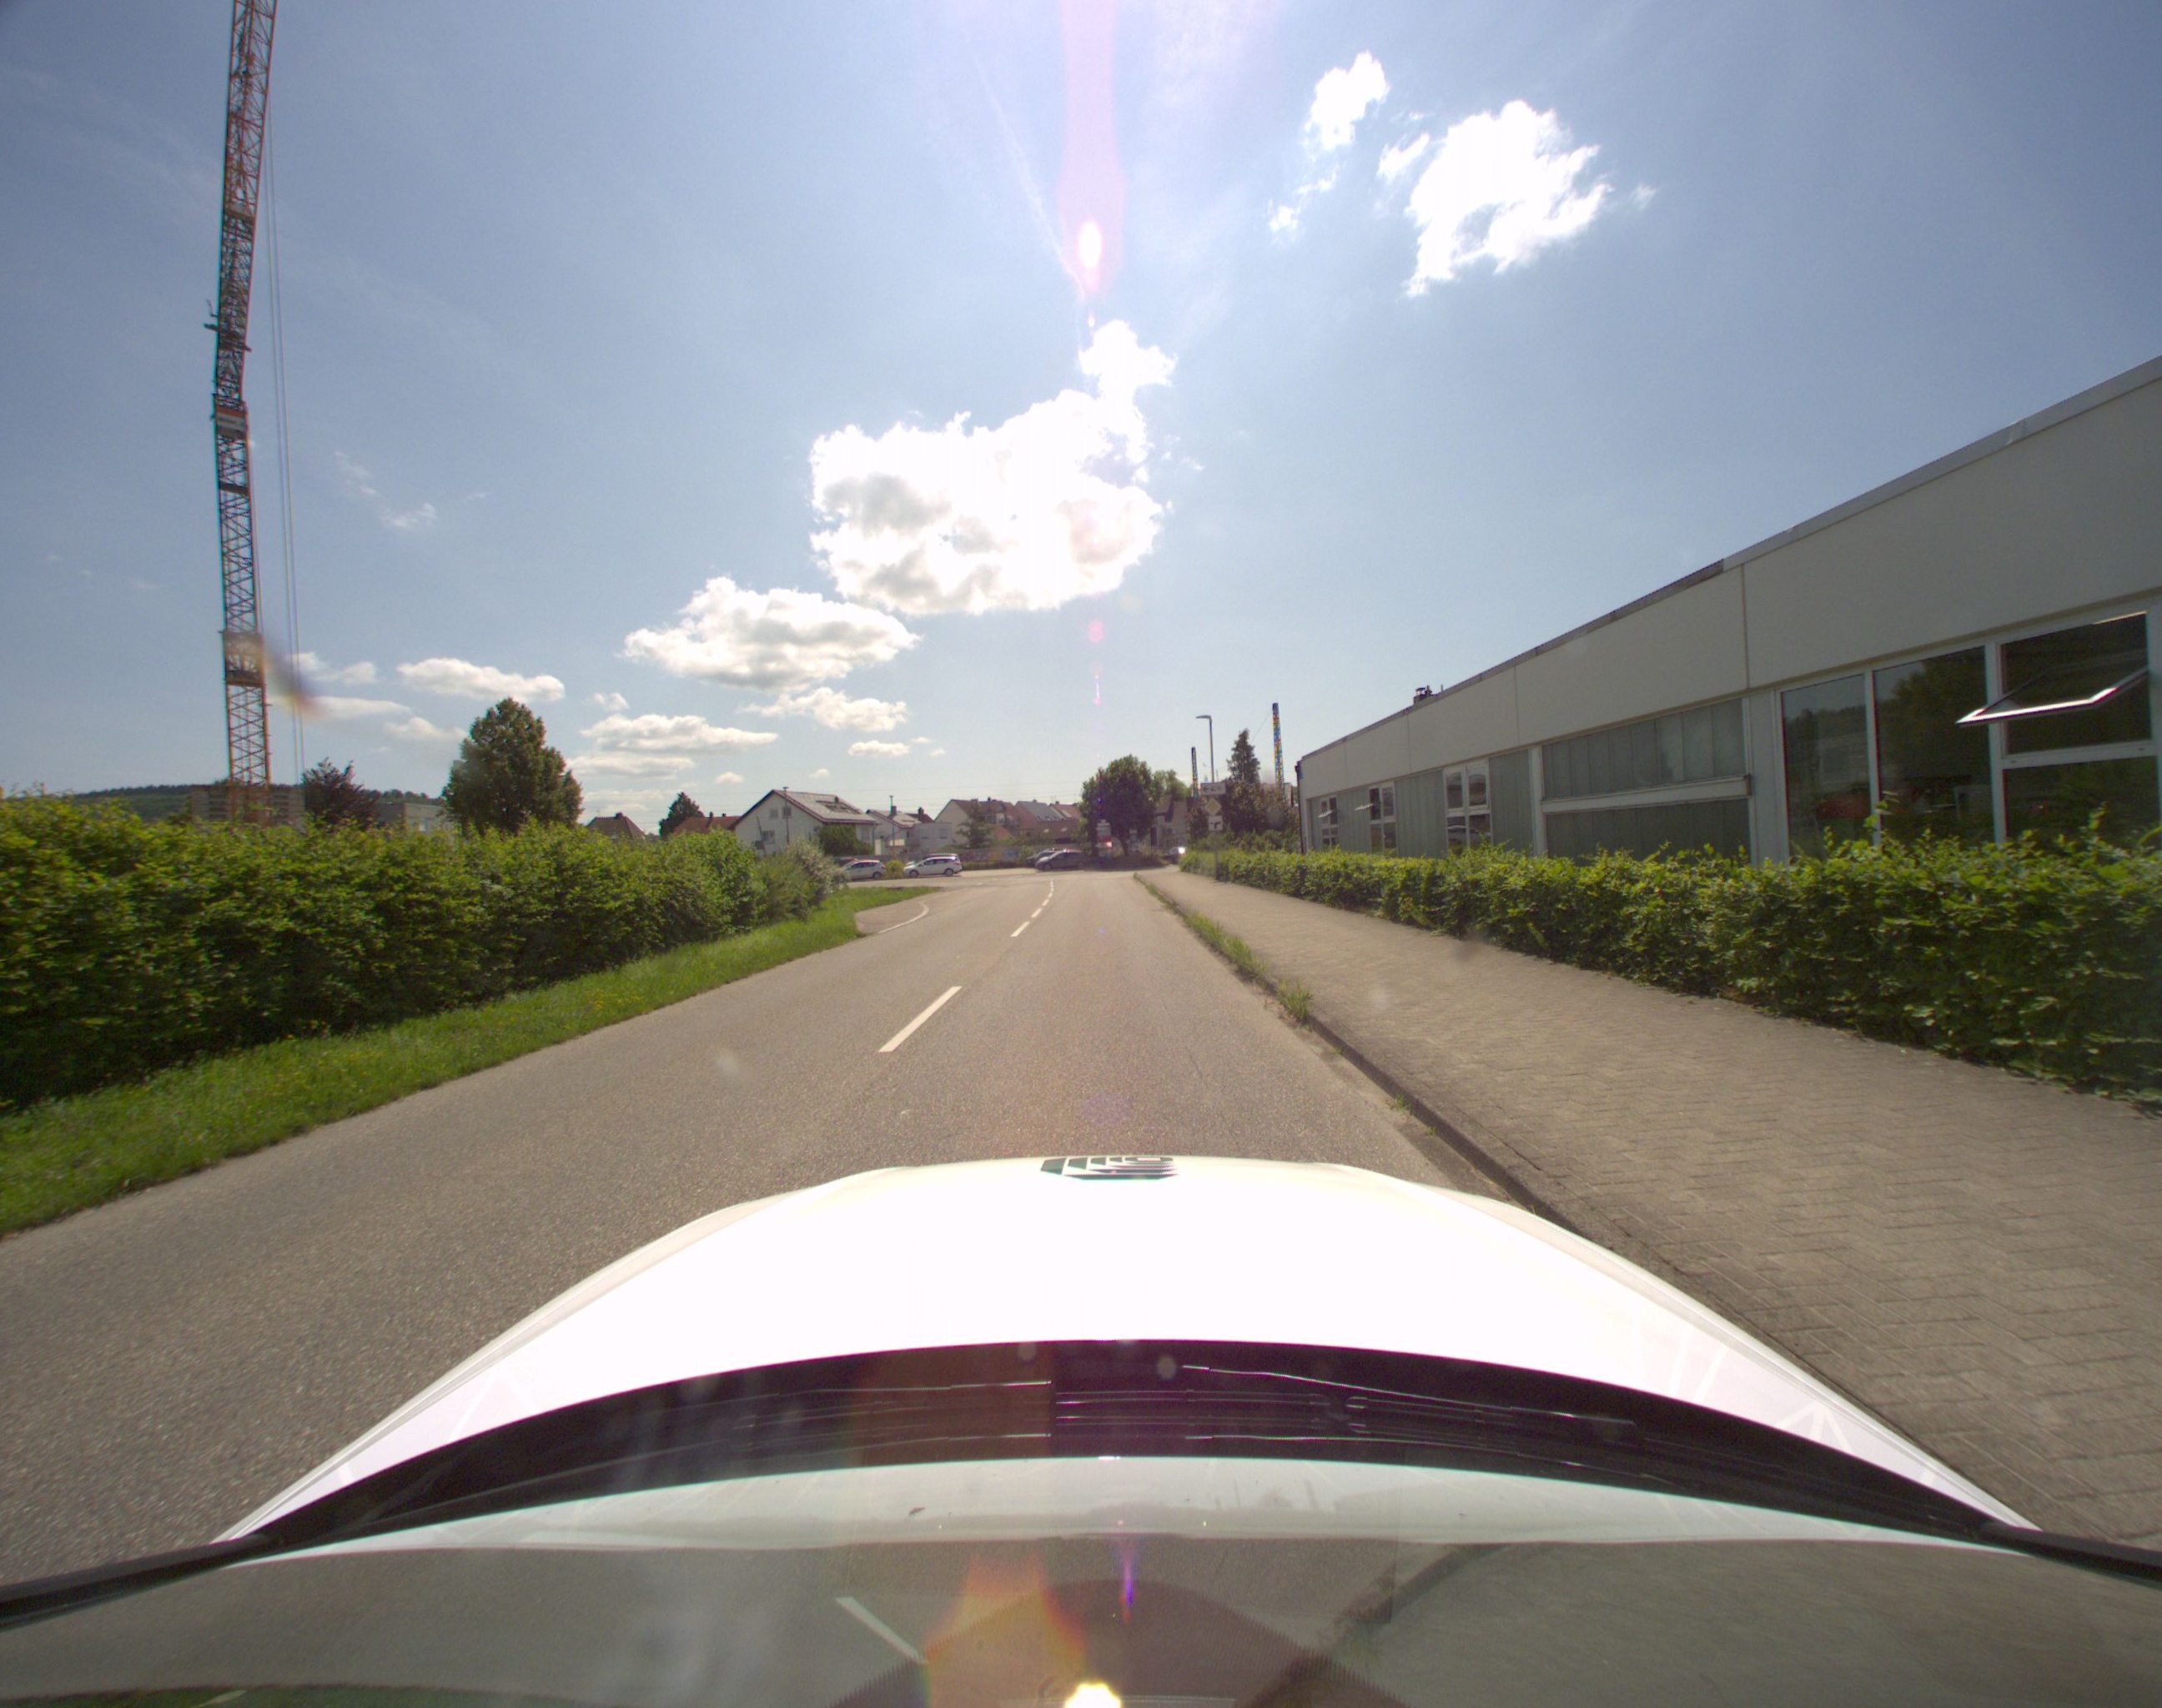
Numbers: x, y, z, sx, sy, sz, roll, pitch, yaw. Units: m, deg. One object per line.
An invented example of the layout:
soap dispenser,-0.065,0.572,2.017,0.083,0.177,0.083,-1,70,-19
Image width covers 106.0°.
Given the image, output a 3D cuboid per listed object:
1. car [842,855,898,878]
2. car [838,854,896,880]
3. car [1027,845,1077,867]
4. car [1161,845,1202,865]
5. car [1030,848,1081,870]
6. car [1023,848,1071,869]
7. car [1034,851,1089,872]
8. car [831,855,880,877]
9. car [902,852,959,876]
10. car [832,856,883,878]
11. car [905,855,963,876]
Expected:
car,-16.021,0.938,61.701,4.010,1.562,1.812,-3,0,-17
car,-16.796,1.030,63.946,4.170,1.638,1.945,-5,0,-16
car,-2.488,0.179,69.448,3.986,1.657,1.994,-3,0,-9
car,8.291,0.051,67.550,1.757,1.385,3.975,-2,3,-19
car,-2.087,0.391,66.961,3.985,1.586,1.775,-3,0,-9
car,-3.005,0.381,71.797,3.985,1.730,1.765,-1,-1,-9
car,-1.587,0.615,64.374,4.185,1.463,1.660,-2,0,-8
car,-18.950,1.023,68.492,3.837,1.589,1.490,-3,0,-15
car,-12.336,0.797,67.054,4.449,1.690,1.995,-2,1,-8
car,-18.177,1.075,66.313,3.786,1.558,1.687,-3,0,-13
car,-11.285,0.884,62.507,4.285,1.477,1.820,-1,-1,-11
